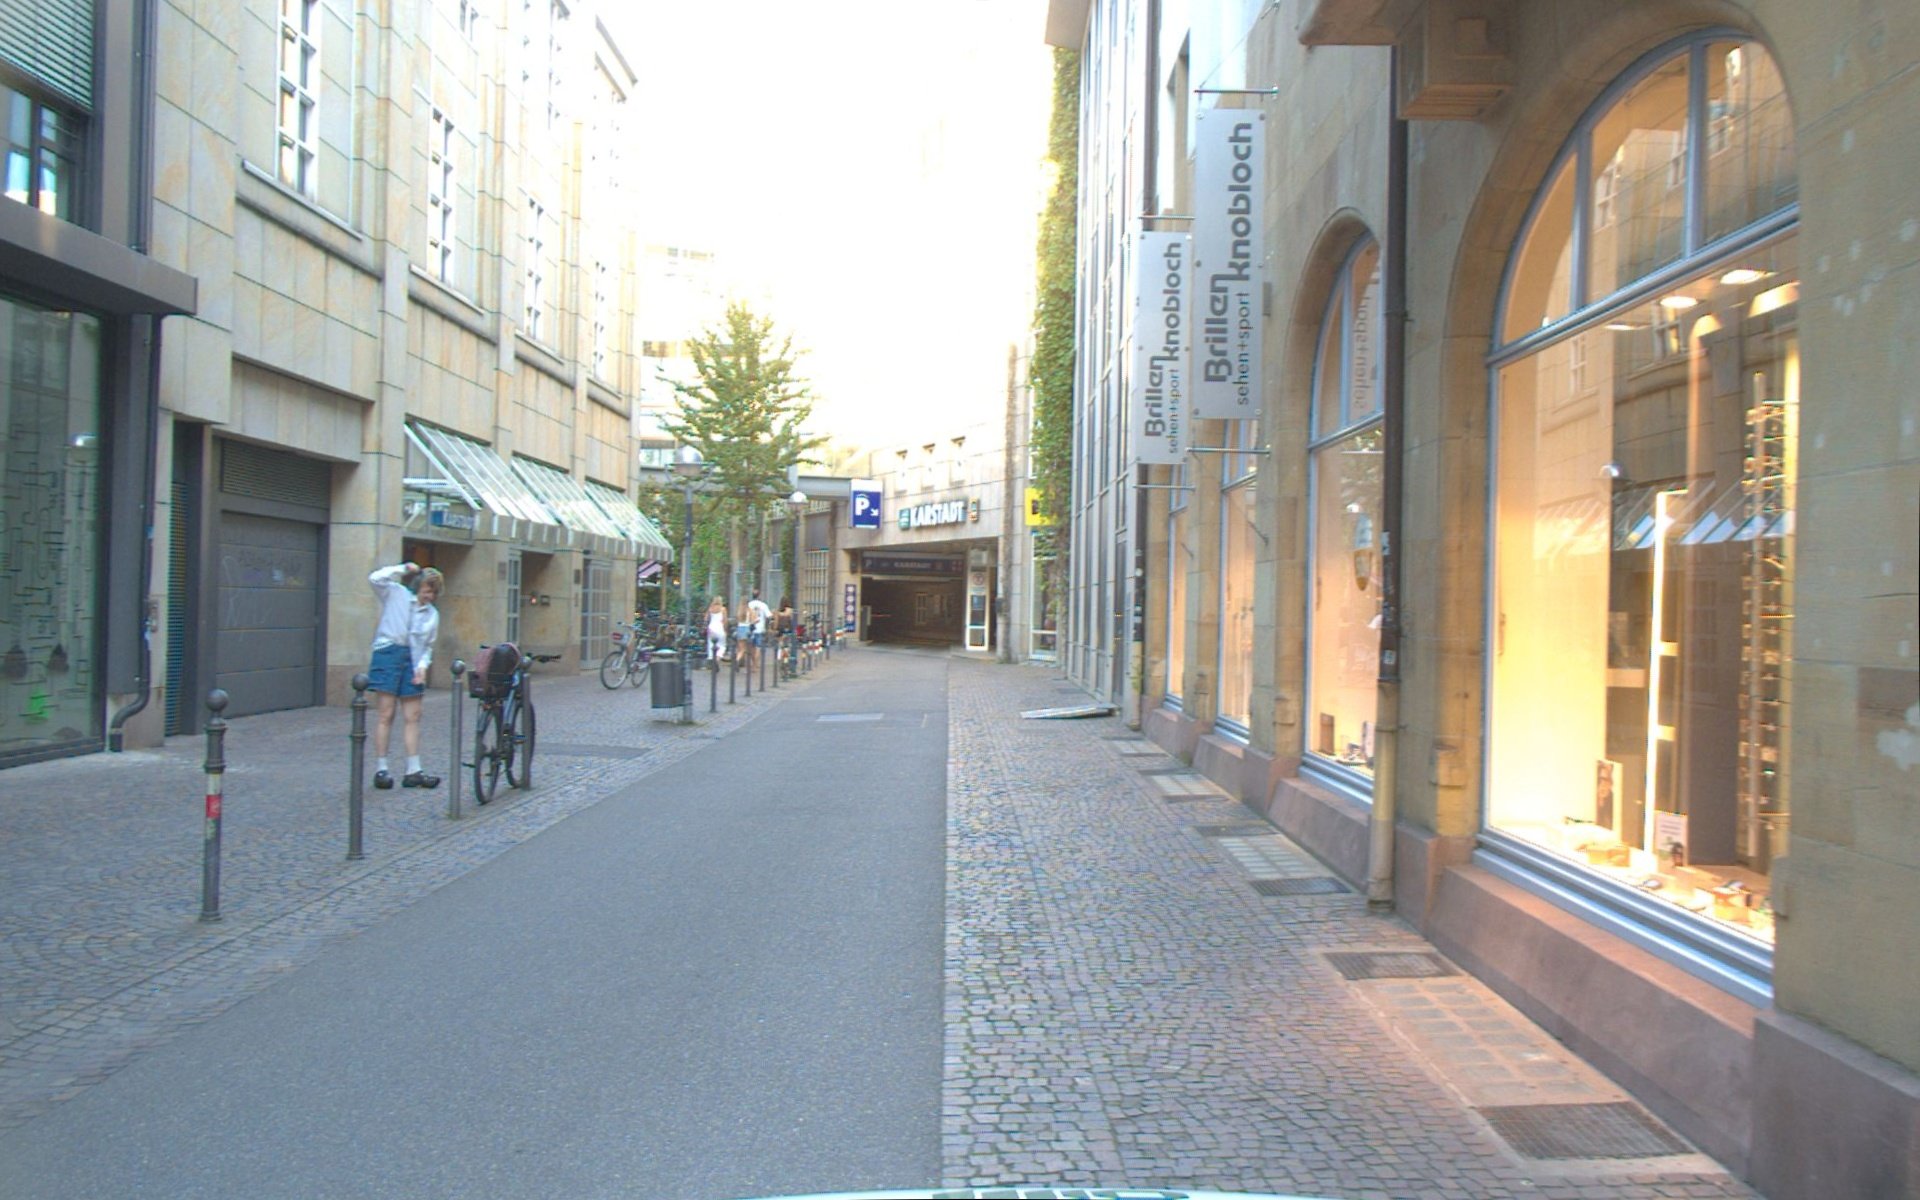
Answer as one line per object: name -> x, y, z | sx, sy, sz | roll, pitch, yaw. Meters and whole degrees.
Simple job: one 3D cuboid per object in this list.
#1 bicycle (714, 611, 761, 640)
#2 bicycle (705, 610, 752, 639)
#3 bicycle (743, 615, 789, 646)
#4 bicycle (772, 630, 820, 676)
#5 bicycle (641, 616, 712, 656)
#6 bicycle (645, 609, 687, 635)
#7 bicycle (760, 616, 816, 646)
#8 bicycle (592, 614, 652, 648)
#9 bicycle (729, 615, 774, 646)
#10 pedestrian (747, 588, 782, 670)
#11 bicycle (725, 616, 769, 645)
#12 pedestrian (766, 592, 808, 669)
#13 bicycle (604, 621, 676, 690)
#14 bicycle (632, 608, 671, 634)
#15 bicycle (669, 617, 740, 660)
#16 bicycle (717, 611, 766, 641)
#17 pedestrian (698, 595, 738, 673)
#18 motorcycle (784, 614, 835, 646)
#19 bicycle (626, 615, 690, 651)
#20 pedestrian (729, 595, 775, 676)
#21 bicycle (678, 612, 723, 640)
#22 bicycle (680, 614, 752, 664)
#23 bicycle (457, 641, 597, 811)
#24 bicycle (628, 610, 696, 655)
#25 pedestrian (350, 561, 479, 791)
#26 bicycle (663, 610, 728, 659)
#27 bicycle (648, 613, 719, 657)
bicycle -> -8.577, 0.982, 63.772 | 1.748, 1.134, 0.539 | 0, 0, -22
bicycle -> -9.076, 0.967, 64.812 | 1.748, 1.134, 0.539 | 0, 0, -22
bicycle -> -6.804, 1.056, 58.003 | 1.517, 1.067, 0.572 | 0, 0, -22
bicycle -> -3.560, 1.148, 36.036 | 0.482, 0.955, 1.660 | 2, 0, 14
bicycle -> -7.893, 0.995, 46.049 | 1.869, 1.070, 0.530 | 0, 0, -24
bicycle -> -12.938, 0.984, 72.765 | 1.746, 1.134, 0.540 | 0, 0, -19
bicycle -> -5.851, 1.059, 56.221 | 1.822, 0.999, 0.460 | 0, 0, -22
bicycle -> -10.655, 0.984, 52.209 | 1.800, 1.061, 0.530 | 0, 0, -24
bicycle -> -7.439, 1.079, 58.967 | 1.517, 1.067, 0.572 | 0, 0, -22
pedestrian -> -4.494, 0.657, 38.033 | 0.727, 1.854, 0.878 | 0, 0, -2
bicycle -> -7.761, 1.107, 60.357 | 1.517, 1.067, 0.572 | 0, 0, -22
pedestrian -> -4.145, 0.720, 39.667 | 0.768, 1.826, 0.973 | 0, 0, 8
bicycle -> -5.635, 0.965, 29.181 | 0.510, 1.158, 1.766 | 0, 0, 15
bicycle -> -14.546, 0.983, 78.046 | 1.748, 1.211, 0.582 | 0, 0, -22
bicycle -> -6.881, 1.021, 44.585 | 1.812, 1.142, 0.530 | 0, 0, -24
bicycle -> -8.270, 0.992, 62.550 | 1.748, 1.134, 0.539 | 0, 0, -22
pedestrian -> -5.368, 0.745, 36.708 | 0.660, 1.693, 0.861 | 1, 0, 6
motorcycle -> -4.971, 0.985, 54.614 | 1.639, 1.069, 0.460 | 0, 0, -22
bicycle -> -9.211, 0.998, 50.481 | 1.852, 1.061, 0.530 | 0, 0, -24
pedestrian -> -4.593, 0.783, 36.581 | 0.789, 1.760, 0.949 | 1, 0, 7
bicycle -> -10.529, 1.040, 67.038 | 1.748, 1.134, 0.539 | 0, 0, -22
bicycle -> -6.258, 0.986, 42.428 | 1.743, 1.252, 0.530 | 0, 0, -24
bicycle -> -3.363, 0.941, 12.994 | 0.522, 1.174, 1.915 | 2, 0, 1
bicycle -> -8.411, 0.908, 46.713 | 1.809, 1.246, 0.530 | 0, 0, -24
pedestrian -> -4.295, 0.587, 13.062 | 0.752, 1.748, 0.591 | 2, 0, -1
bicycle -> -6.980, 0.905, 43.692 | 1.631, 1.252, 0.530 | 0, 0, -24
bicycle -> -7.611, 0.961, 45.525 | 1.847, 1.198, 0.530 | 0, 0, -24
